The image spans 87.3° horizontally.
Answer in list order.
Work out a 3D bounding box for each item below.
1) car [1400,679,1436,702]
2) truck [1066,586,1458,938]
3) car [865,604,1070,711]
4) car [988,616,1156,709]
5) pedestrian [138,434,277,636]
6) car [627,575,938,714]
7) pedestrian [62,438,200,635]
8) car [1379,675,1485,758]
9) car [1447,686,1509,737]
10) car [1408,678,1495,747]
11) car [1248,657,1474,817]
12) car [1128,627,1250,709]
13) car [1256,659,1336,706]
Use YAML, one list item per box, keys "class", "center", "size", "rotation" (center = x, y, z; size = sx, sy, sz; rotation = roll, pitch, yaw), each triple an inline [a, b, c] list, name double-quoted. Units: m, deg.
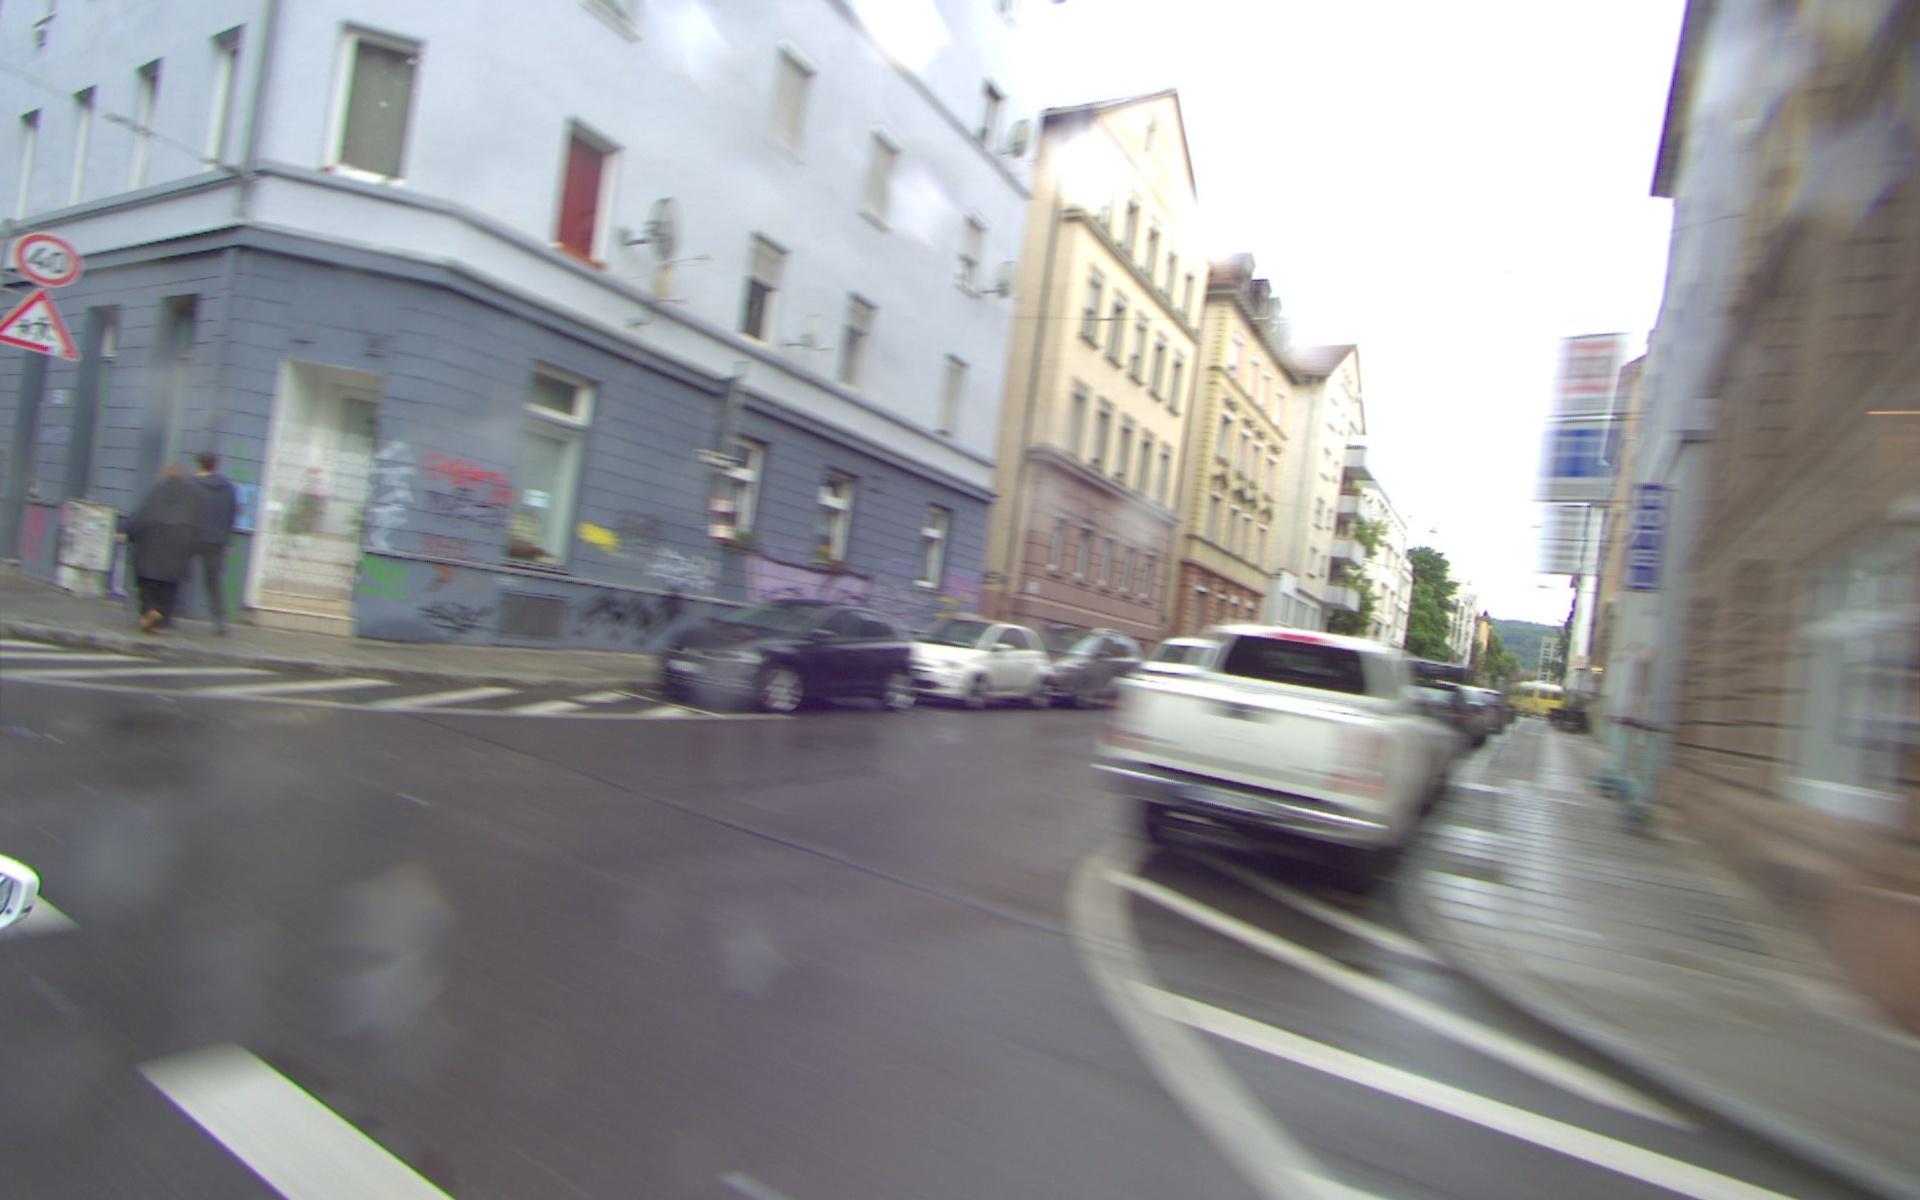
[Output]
- class: "car"
  center: [34.836, 6.892, 76.490]
  size: [1.758, 1.462, 4.217]
  rotation: [7, -1, 33]
- class: "truck"
  center: [2.906, 1.148, 8.554]
  size: [2.048, 1.839, 5.071]
  rotation: [7, -1, 28]
- class: "car"
  center: [0.239, 1.072, 17.750]
  size: [1.758, 1.489, 3.724]
  rotation: [7, -1, 33]
- class: "car"
  center: [2.461, 1.370, 21.173]
  size: [1.758, 1.548, 3.992]
  rotation: [7, -1, 33]
- class: "pedestrian"
  center: [-8.201, -0.698, 10.973]
  size: [0.807, 2.037, 0.737]
  rotation: [8, -1, 31]
- class: "car"
  center: [-2.220, 0.682, 13.610]
  size: [1.758, 1.447, 3.992]
  rotation: [7, -1, 33]
- class: "pedestrian"
  center: [-8.469, -0.642, 10.285]
  size: [0.807, 1.873, 0.663]
  rotation: [8, -1, 31]
- class: "car"
  center: [10.791, 2.600, 22.836]
  size: [1.756, 1.447, 4.427]
  rotation: [7, -1, 29]
- class: "car"
  center: [18.834, 4.014, 36.492]
  size: [1.756, 1.447, 4.427]
  rotation: [7, -1, 29]
- class: "car"
  center: [13.420, 3.016, 27.335]
  size: [1.756, 1.447, 4.427]
  rotation: [7, -1, 29]
- class: "car"
  center: [5.413, 1.683, 13.158]
  size: [2.058, 1.424, 4.569]
  rotation: [7, -1, 29]
- class: "car"
  center: [6.338, 1.907, 27.473]
  size: [1.758, 1.845, 4.217]
  rotation: [7, -1, 32]
- class: "car"
  center: [13.015, 3.216, 38.815]
  size: [1.758, 1.462, 4.217]
  rotation: [7, -1, 33]
